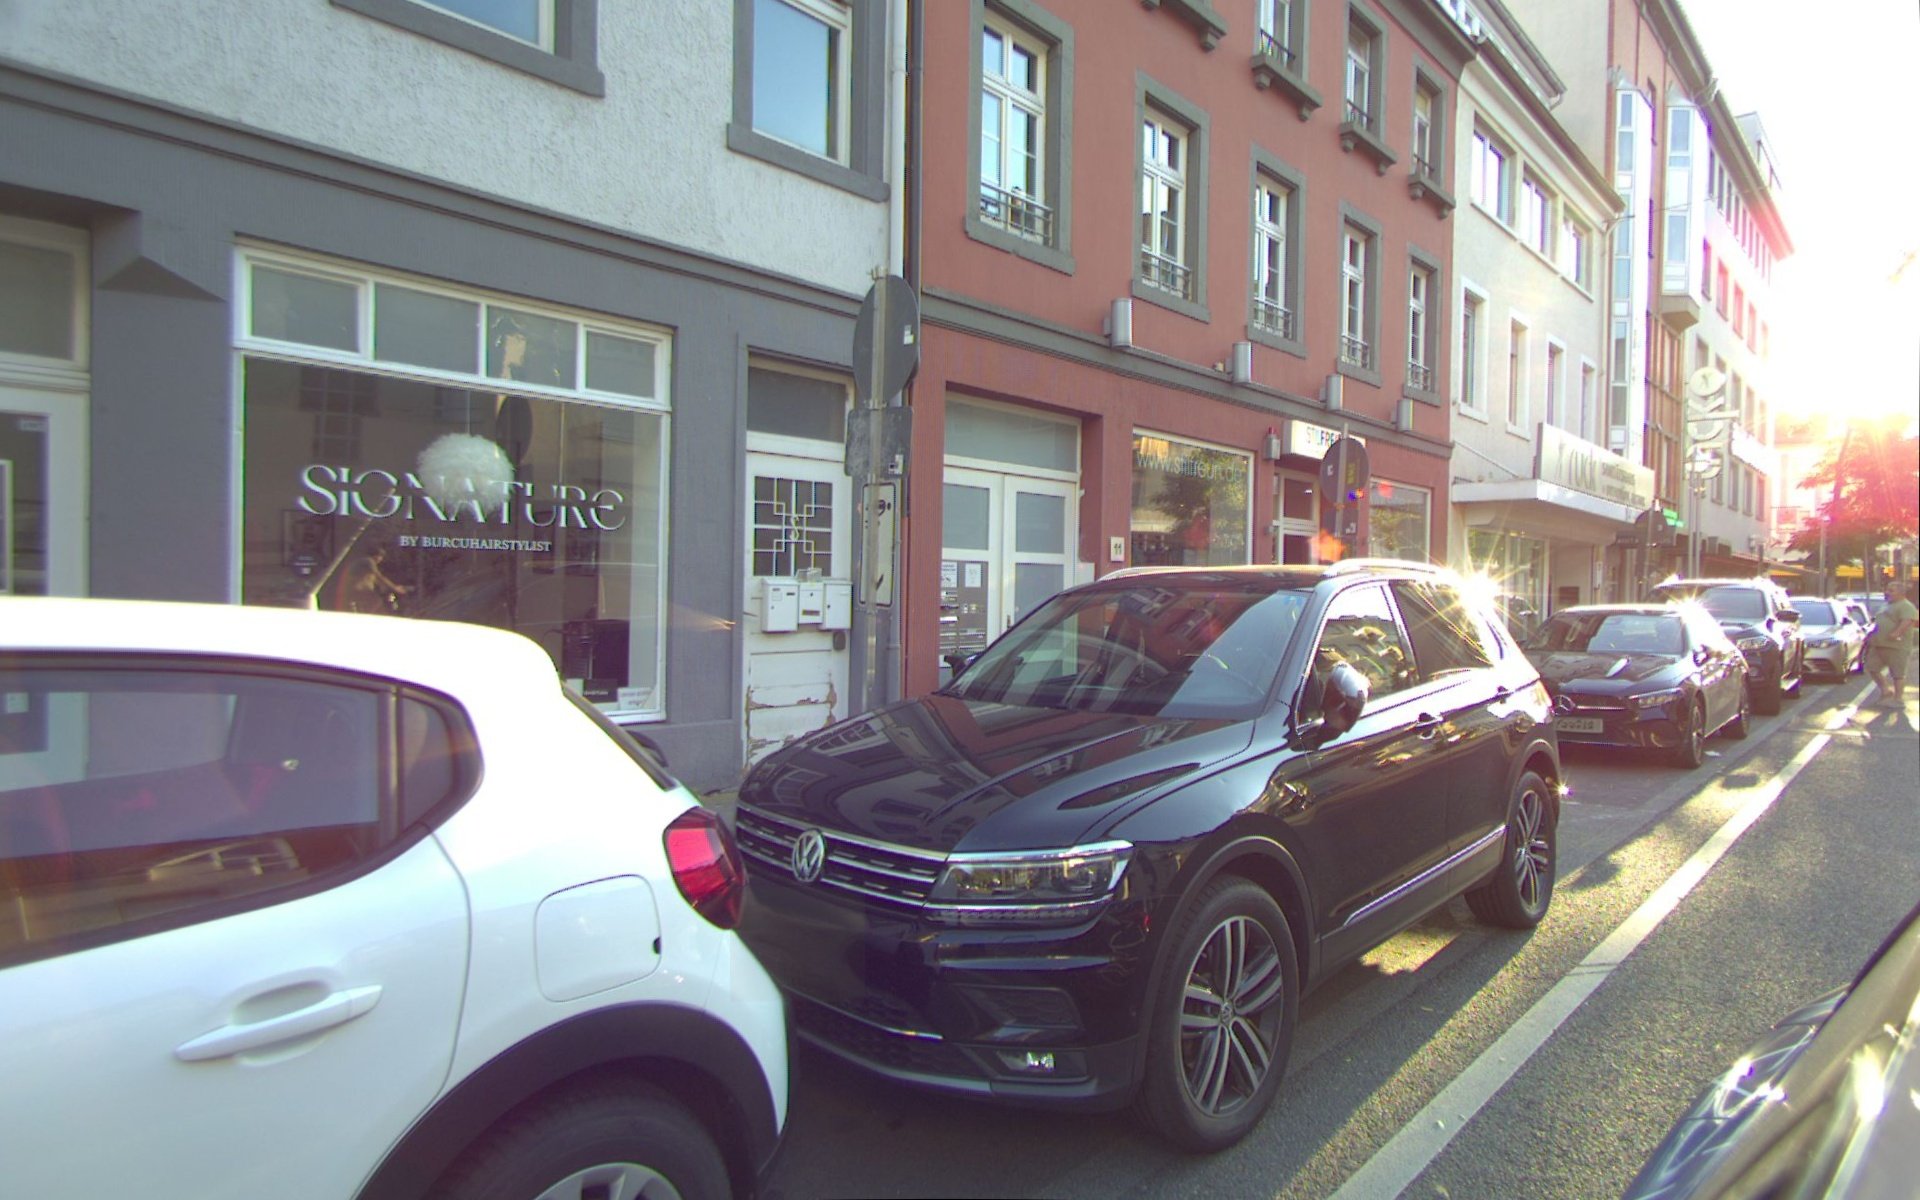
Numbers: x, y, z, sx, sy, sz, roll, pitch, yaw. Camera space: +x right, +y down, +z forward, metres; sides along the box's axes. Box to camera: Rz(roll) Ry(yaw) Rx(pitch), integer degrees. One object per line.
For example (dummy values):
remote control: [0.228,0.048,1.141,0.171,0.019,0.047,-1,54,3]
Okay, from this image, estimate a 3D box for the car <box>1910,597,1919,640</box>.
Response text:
car: [32.641,0.599,33.336,1.937,1.394,4.116,0,0,44]

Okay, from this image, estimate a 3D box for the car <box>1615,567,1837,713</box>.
car: [11.267,0.455,14.732,4.976,1.776,1.884,-1,1,-45]

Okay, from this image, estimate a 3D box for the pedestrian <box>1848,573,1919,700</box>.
pedestrian: [13.076,0.490,13.975,0.896,1.697,0.986,2,1,22]

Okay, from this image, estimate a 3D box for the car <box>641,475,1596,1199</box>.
car: [1.028,0.556,4.198,4.137,1.689,1.813,-1,1,-44]

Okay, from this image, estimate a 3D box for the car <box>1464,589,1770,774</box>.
car: [6.907,0.652,10.438,4.236,1.502,1.763,-1,1,-44]

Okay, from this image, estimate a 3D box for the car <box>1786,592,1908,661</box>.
car: [20.454,0.552,23.273,4.434,1.438,1.754,0,0,-44]

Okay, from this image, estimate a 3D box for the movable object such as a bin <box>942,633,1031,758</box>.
movable object such as a bin: [0.218,0.770,8.400,0.553,0.950,0.477,1,1,44]

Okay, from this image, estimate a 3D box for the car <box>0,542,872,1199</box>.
car: [-2.092,0.635,1.360,3.740,1.395,1.668,-1,1,-44]

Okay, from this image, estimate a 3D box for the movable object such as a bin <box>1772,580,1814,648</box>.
movable object such as a bin: [22.705,0.368,27.574,0.834,1.796,1.333,0,0,42]

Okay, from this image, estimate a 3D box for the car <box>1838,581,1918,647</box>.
car: [27.139,0.391,29.951,1.653,1.801,3.950,0,0,42]

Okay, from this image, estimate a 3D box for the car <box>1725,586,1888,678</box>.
car: [16.413,0.516,19.529,4.909,1.546,1.814,-1,1,-43]
